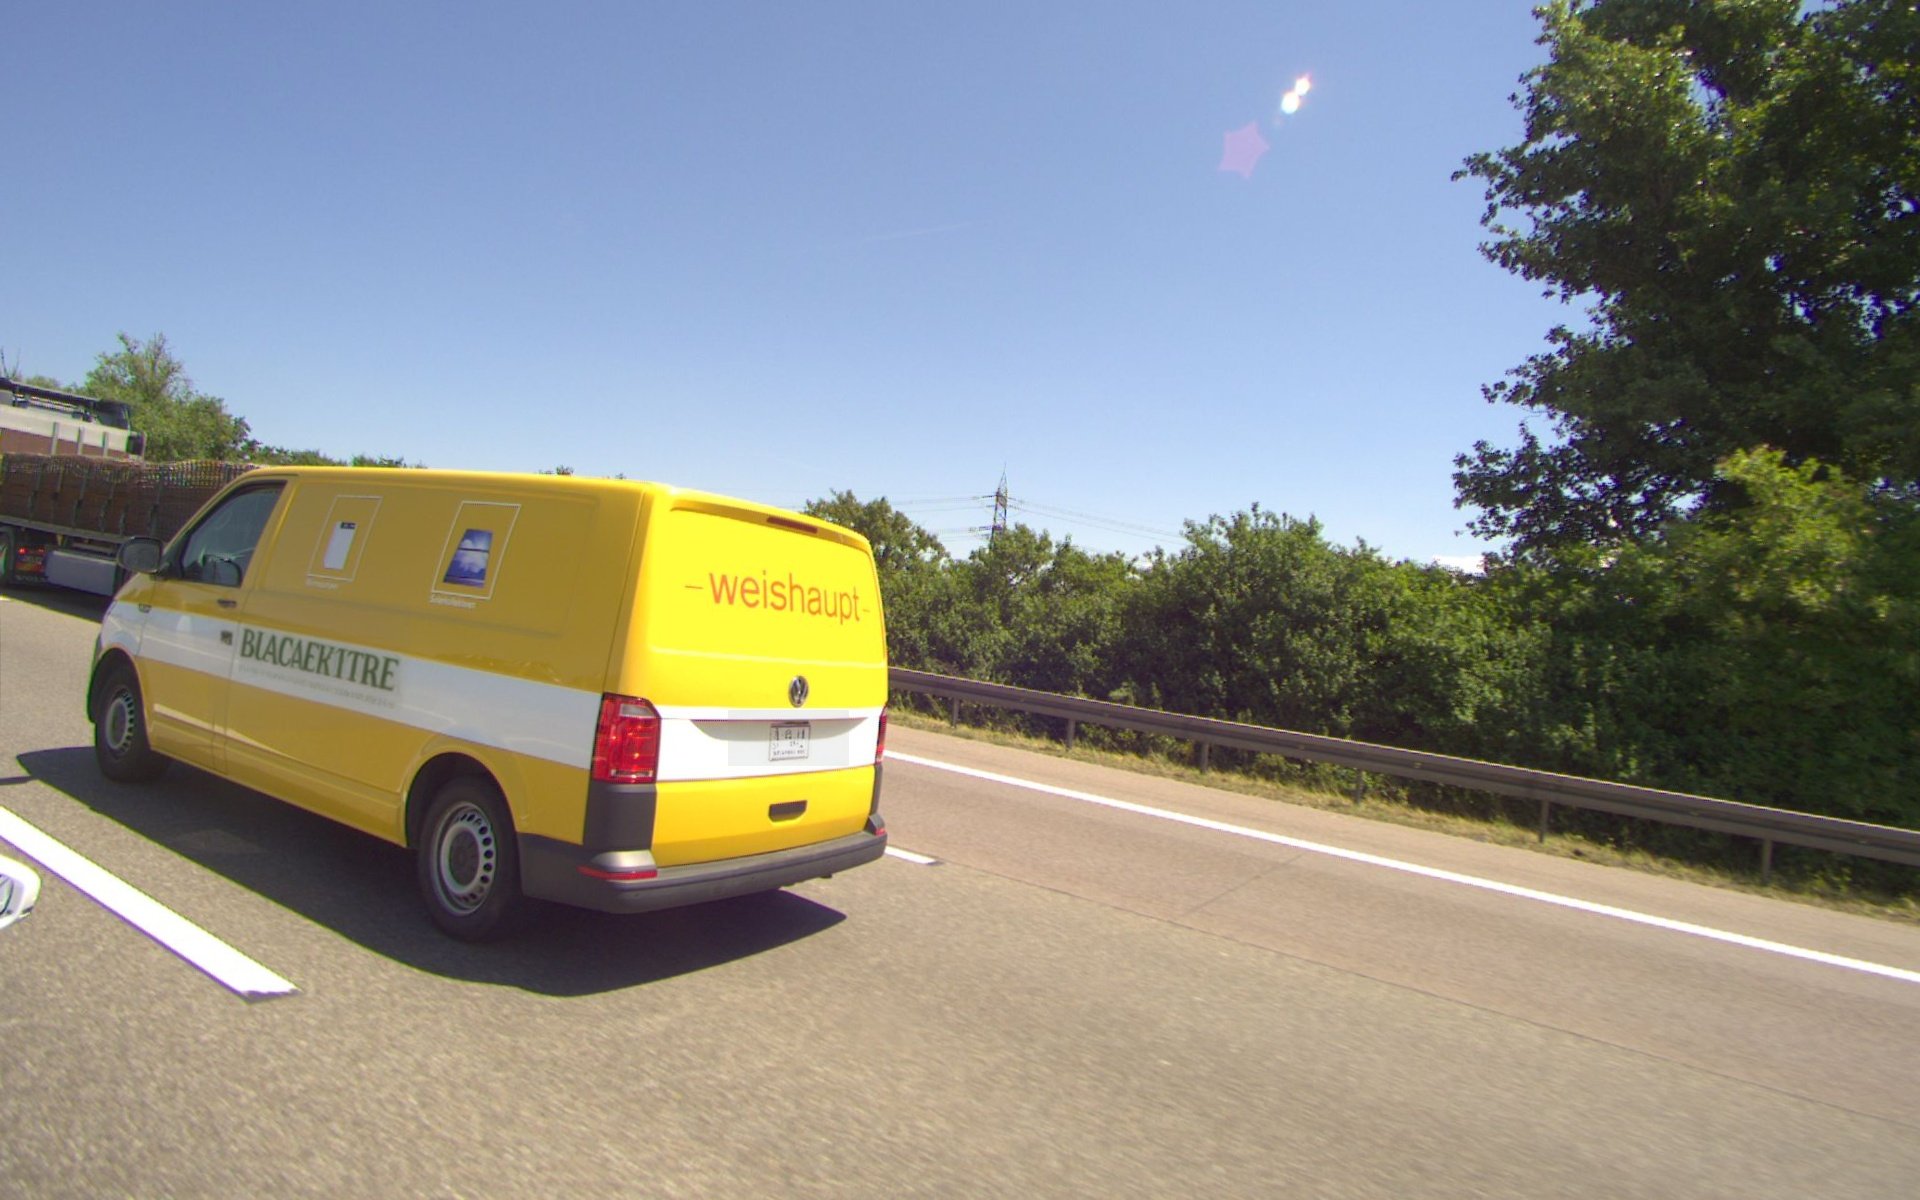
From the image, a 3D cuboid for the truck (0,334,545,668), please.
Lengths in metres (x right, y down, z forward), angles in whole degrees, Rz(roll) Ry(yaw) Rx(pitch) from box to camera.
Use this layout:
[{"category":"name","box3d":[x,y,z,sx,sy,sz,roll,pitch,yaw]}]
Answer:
[{"category":"truck","box3d":[-14.064,-1.814,17.889,16.338,4.003,2.975,6,-2,32]}]

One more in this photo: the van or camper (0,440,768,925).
[{"category":"van or camper","box3d":[-3.797,0.228,6.218,4.889,1.931,1.997,6,-2,32]}]
